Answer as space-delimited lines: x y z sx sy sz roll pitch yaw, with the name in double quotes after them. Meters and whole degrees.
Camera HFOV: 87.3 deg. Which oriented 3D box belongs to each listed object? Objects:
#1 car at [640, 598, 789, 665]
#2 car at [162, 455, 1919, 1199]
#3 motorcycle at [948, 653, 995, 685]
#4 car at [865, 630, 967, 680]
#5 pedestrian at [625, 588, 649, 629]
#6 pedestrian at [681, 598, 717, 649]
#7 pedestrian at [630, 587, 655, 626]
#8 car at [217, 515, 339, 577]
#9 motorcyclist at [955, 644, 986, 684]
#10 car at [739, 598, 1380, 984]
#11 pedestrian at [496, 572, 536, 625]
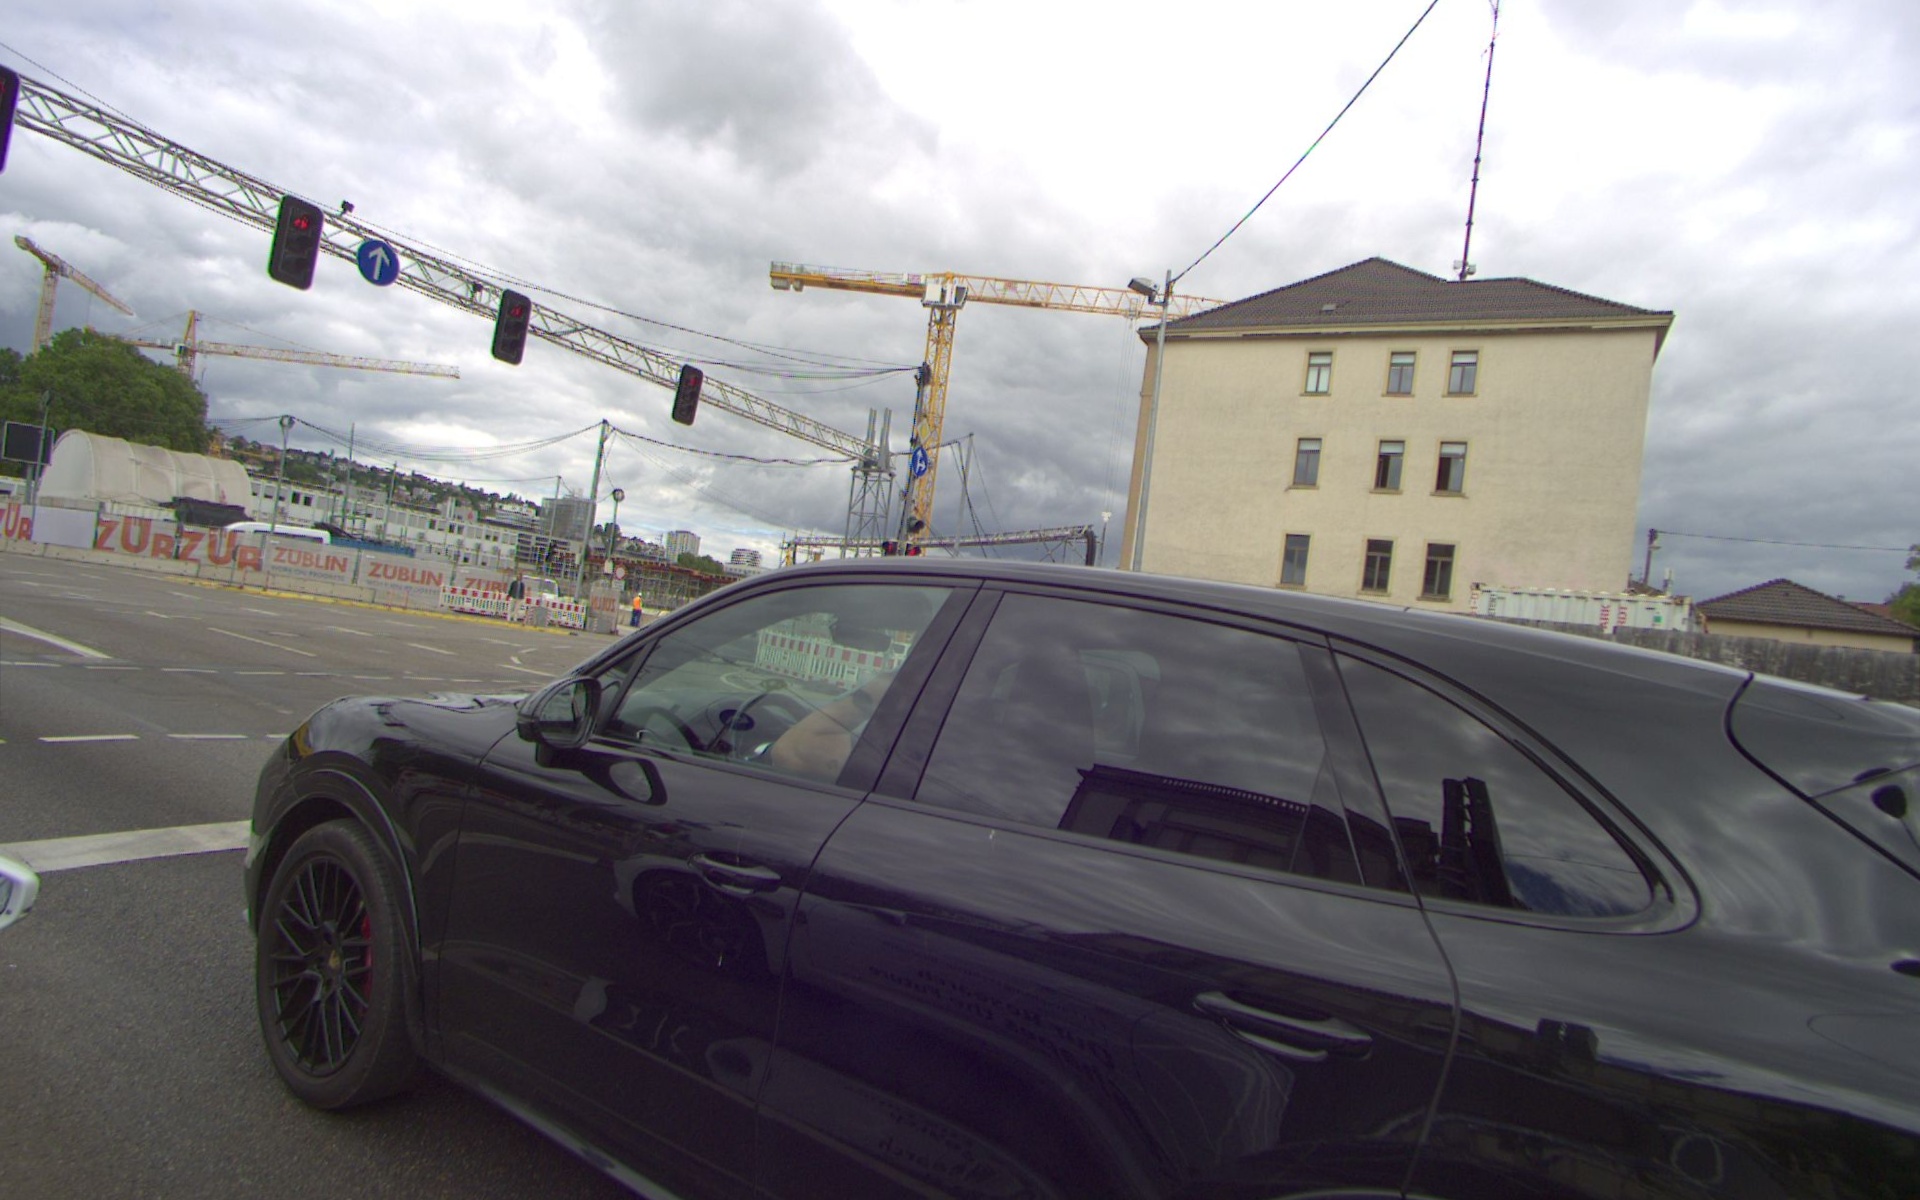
-7.558 1.031 31.417 1.966 1.557 4.305 6 -2 29 "car"
0.086 0.699 2.645 4.505 1.687 1.997 6 -2 34 "car"
0.520 3.023 43.915 0.804 1.168 2.427 6 -2 32 "motorcycle"
-1.917 2.526 45.563 1.970 1.721 4.673 6 -2 37 "car"
-17.186 0.449 53.530 0.855 2.037 0.677 6 -1 44 "pedestrian"
-11.305 1.013 43.590 1.024 2.037 1.038 8 -1 -32 "pedestrian"
-17.234 0.353 54.639 0.850 1.938 0.680 7 -1 26 "pedestrian"
-29.524 -2.325 43.635 3.976 2.037 1.976 9 -2 -43 "car"
0.461 2.795 43.777 0.804 1.589 0.880 6 -1 32 "motorcyclist"
0.577 0.999 6.542 3.587 1.527 1.825 6 -2 33 "car"
-17.252 -0.057 39.099 1.040 1.869 0.781 8 -1 -42 "pedestrian"
